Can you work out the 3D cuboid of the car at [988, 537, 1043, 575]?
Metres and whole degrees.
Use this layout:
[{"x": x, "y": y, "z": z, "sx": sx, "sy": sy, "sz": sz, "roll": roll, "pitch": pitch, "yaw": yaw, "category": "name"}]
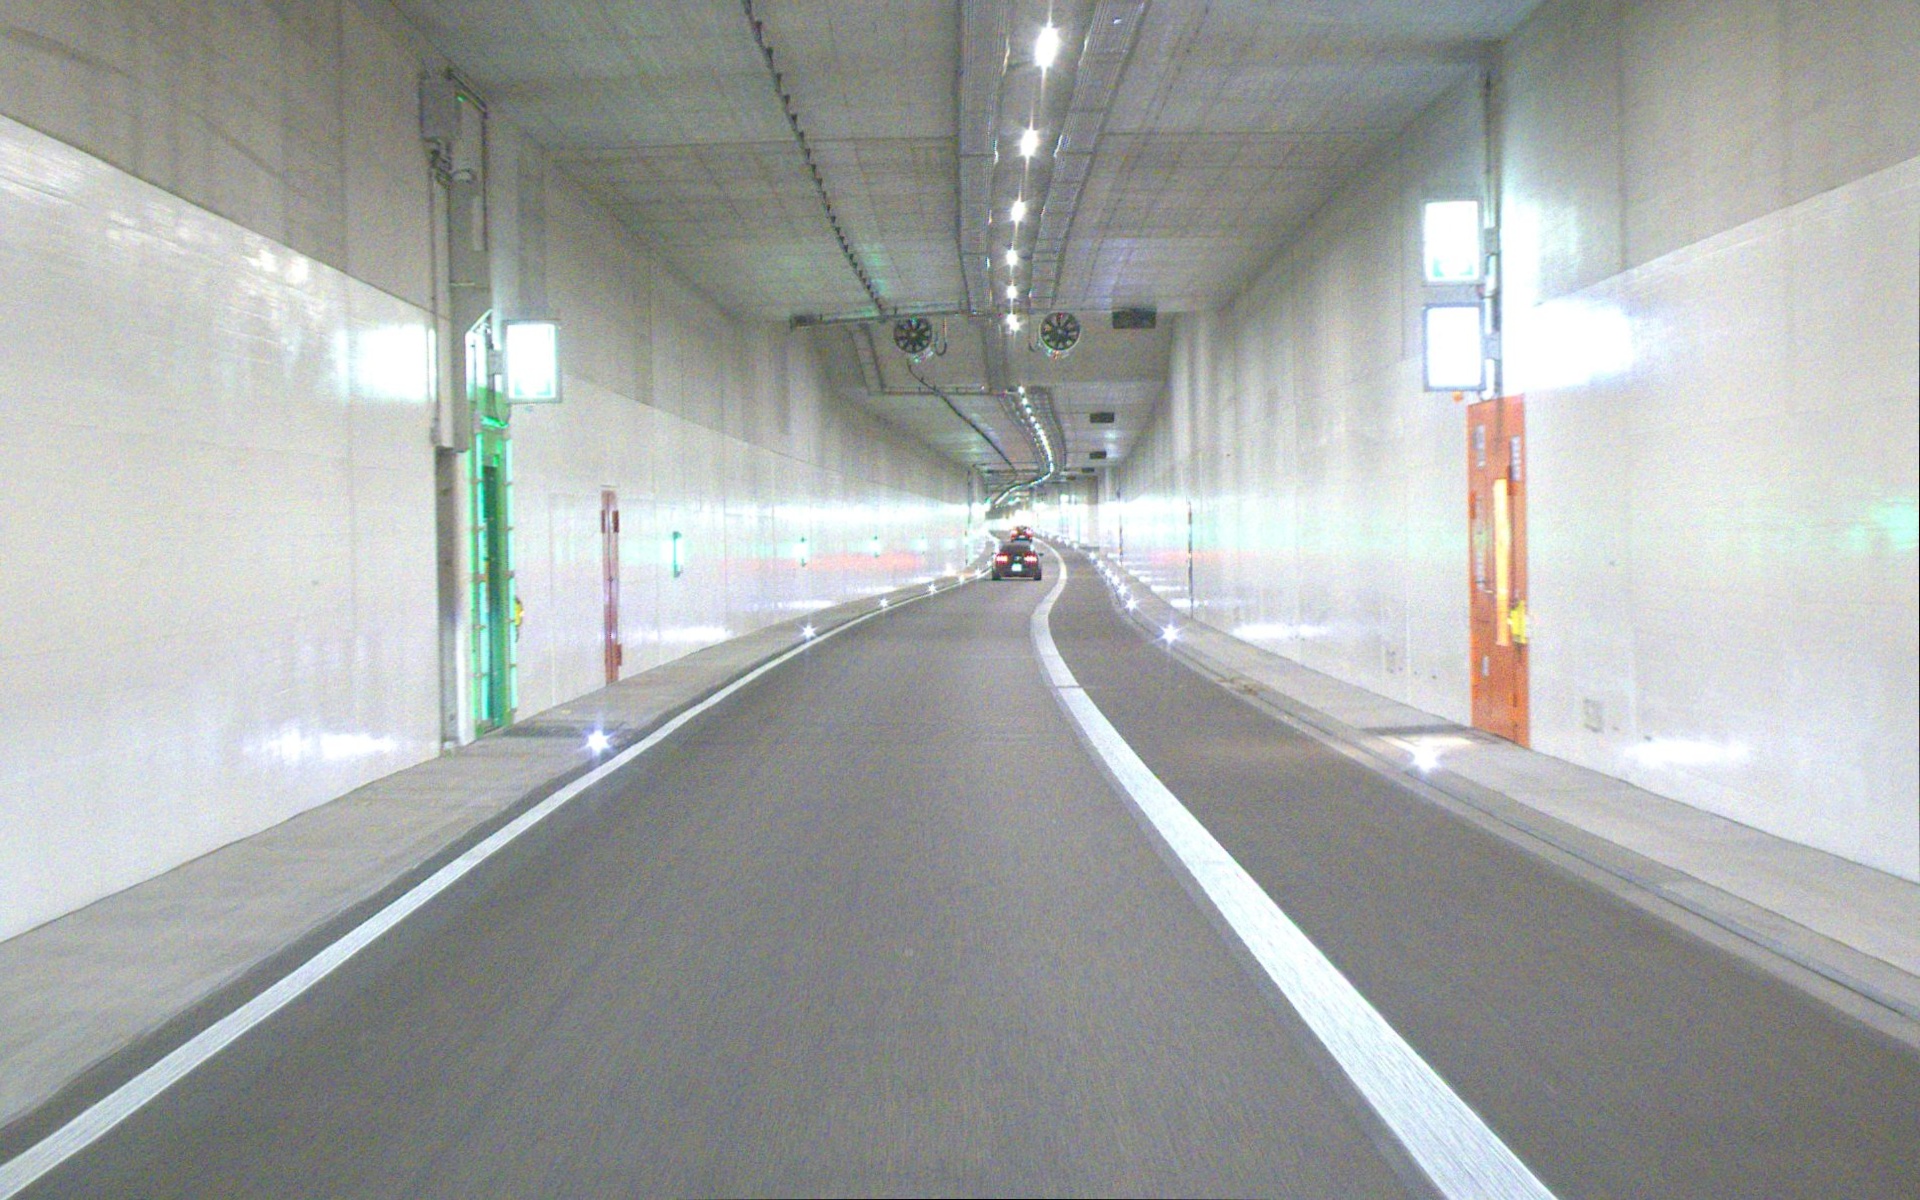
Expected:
[{"x": 2.097, "y": -1.701, "z": 131.243, "sx": 1.993, "sy": 1.415, "sz": 4.000, "roll": 0, "pitch": 1, "yaw": 0, "category": "car"}]
